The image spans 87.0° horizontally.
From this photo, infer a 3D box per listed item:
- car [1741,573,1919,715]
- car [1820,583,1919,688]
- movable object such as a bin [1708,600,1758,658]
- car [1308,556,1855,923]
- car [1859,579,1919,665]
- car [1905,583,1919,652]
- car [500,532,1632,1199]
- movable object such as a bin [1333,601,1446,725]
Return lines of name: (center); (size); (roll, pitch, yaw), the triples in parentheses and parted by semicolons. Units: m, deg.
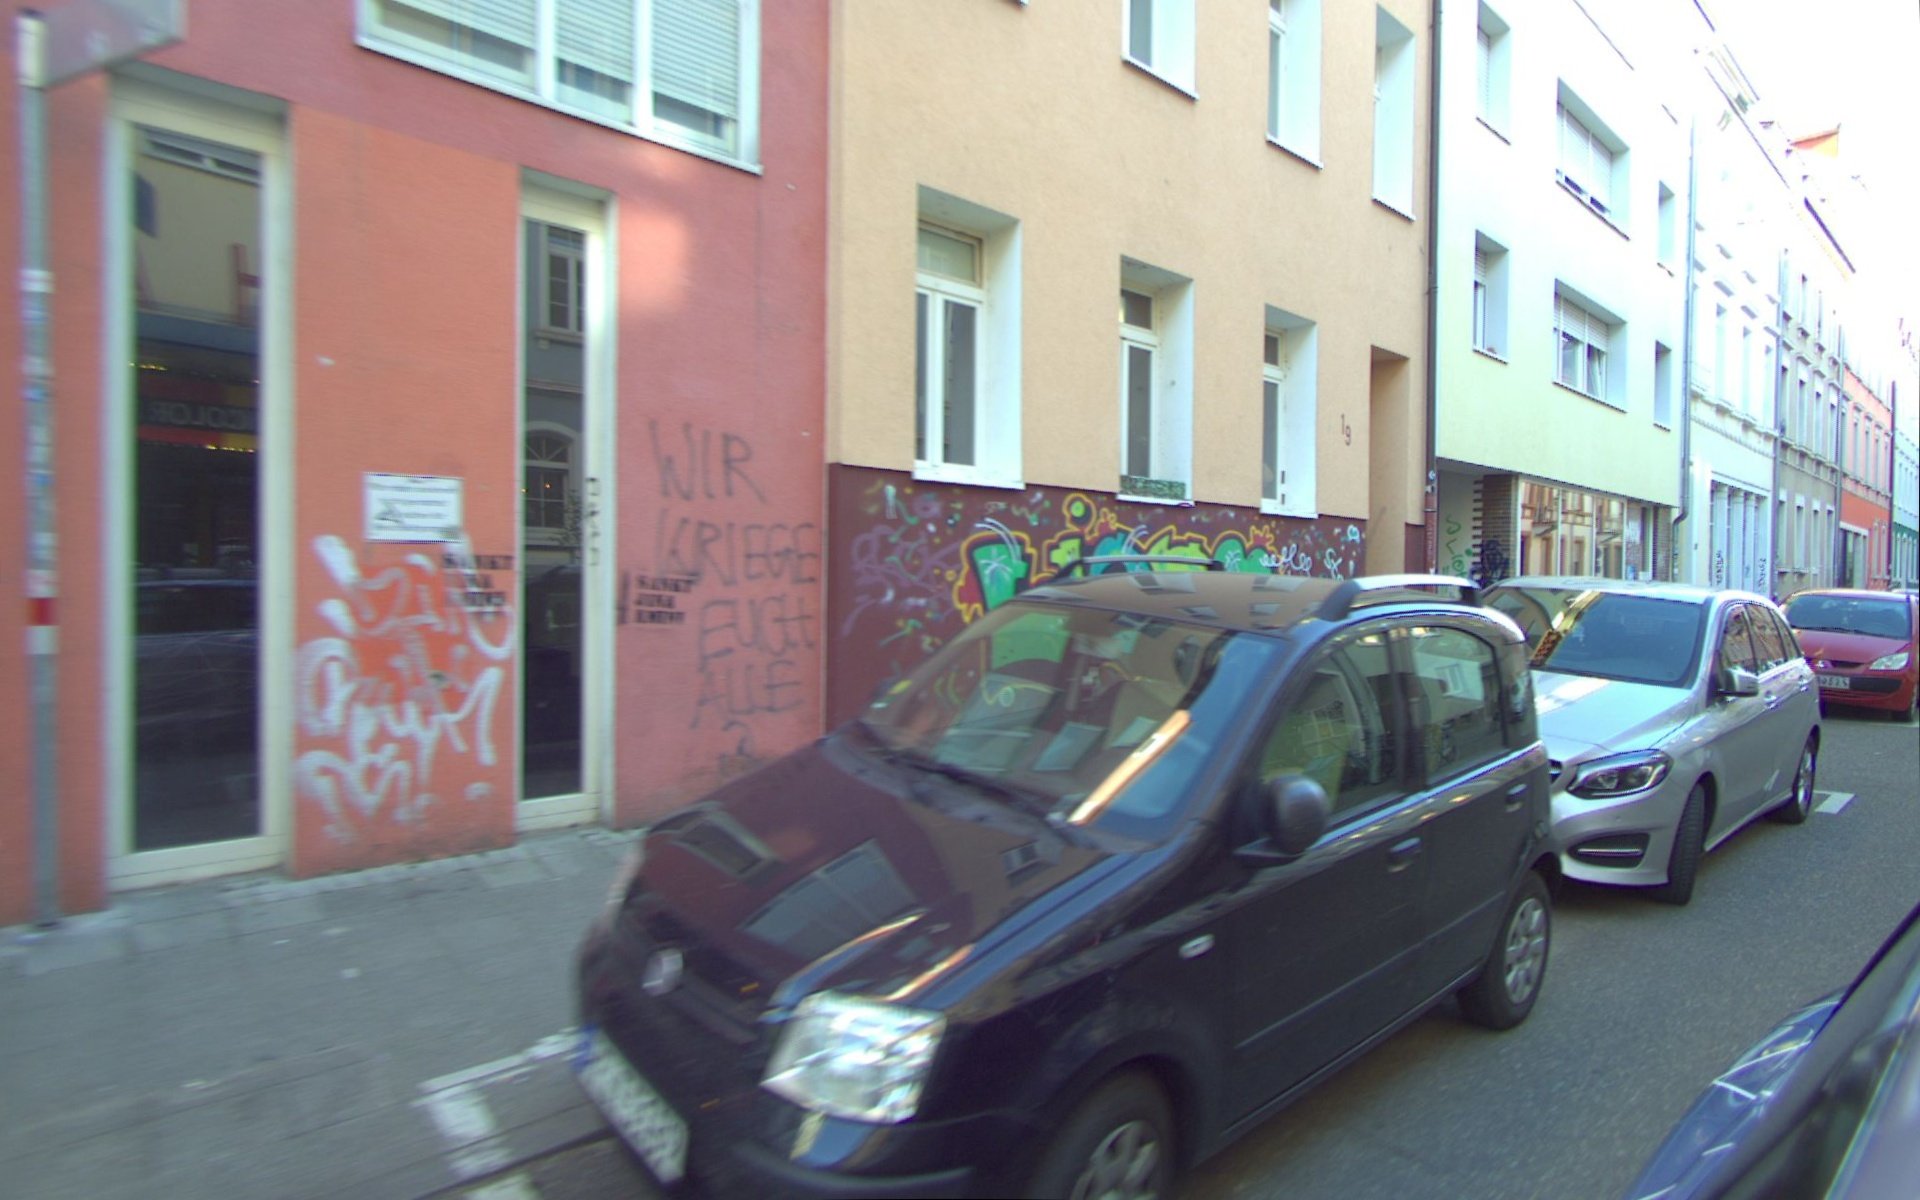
car: (11.753, 0.461, 13.182); (3.910, 1.541, 1.701); (0, 3, -41)
car: (15.152, 0.496, 16.125); (4.123, 1.470, 1.691); (-1, 3, -43)
movable object such as a bin: (15.155, 0.558, 19.843); (0.547, 1.112, 0.665); (0, 0, -40)
car: (4.076, 0.561, 6.348); (4.098, 1.575, 1.749); (0, 2, -41)
car: (19.122, 0.401, 19.826); (3.931, 1.570, 1.792); (-1, 2, -42)
car: (23.249, 0.373, 23.351); (4.305, 1.541, 1.764); (-1, 1, -42)
car: (0.588, 0.641, 3.178); (3.390, 1.558, 1.606); (-1, 4, -41)
movable object such as a bin: (4.086, 0.567, 9.639); (0.724, 1.070, 0.694); (0, 4, -41)
